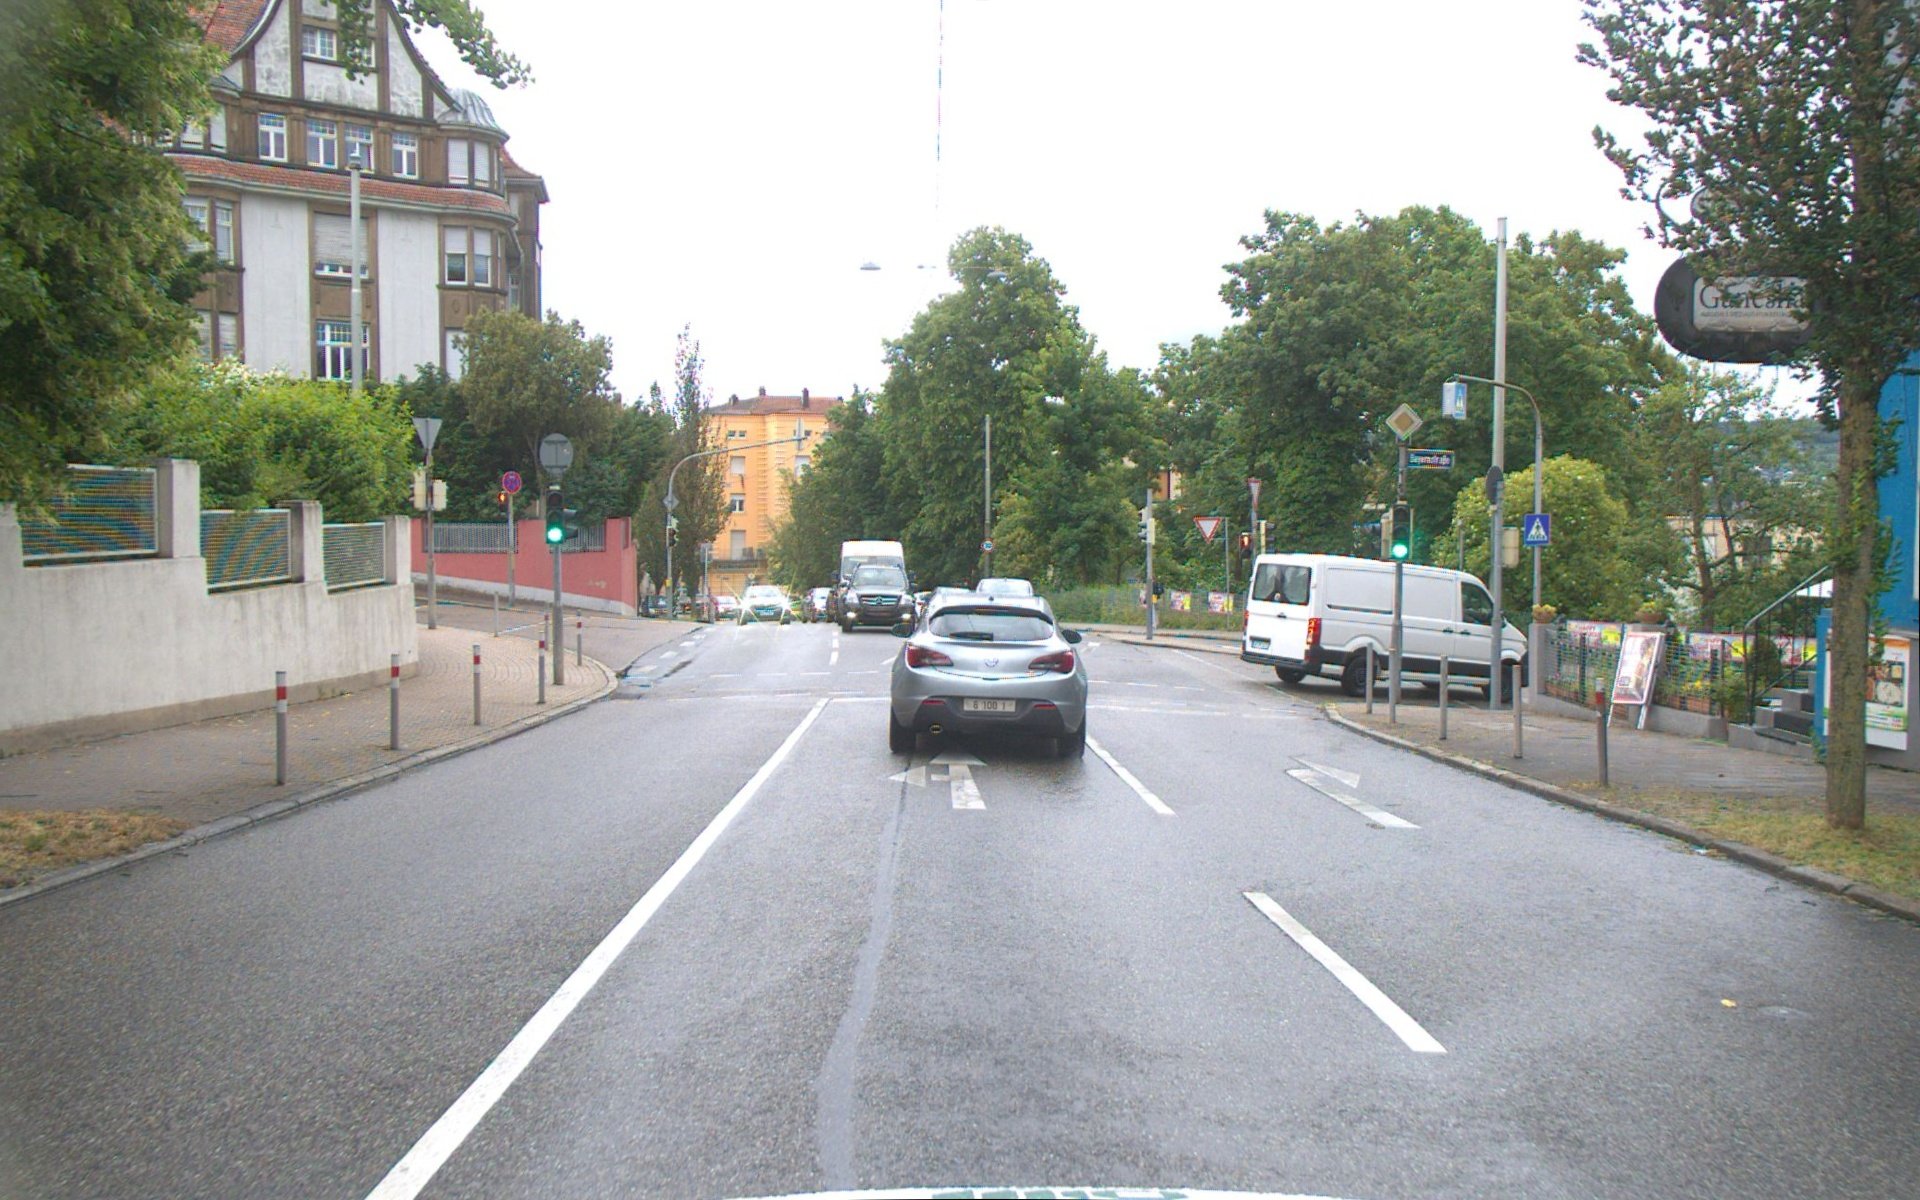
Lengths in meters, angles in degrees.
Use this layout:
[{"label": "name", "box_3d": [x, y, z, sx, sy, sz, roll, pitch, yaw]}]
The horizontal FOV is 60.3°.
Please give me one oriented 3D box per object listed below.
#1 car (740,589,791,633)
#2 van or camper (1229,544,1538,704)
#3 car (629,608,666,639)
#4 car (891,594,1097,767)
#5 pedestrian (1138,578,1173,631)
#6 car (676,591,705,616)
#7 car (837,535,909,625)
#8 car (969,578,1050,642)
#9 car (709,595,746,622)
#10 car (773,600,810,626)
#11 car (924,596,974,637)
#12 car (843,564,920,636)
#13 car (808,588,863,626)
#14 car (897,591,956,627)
[{"label": "car", "box_3d": [-7.407, 0.380, 63.099, 1.817, 1.512, 5.360, 0, 1, -7]}, {"label": "van or camper", "box_3d": [7.728, 0.464, 30.019, 5.343, 2.365, 2.091, 5, 3, -31]}, {"label": "car", "box_3d": [-16.996, 1.303, 89.822, 1.784, 1.641, 3.985, 1, -1, -14]}, {"label": "car", "box_3d": [0.256, 0.694, 16.387, 1.778, 1.454, 3.999, 1, 1, -1]}, {"label": "pedestrian", "box_3d": [6.216, 0.132, 52.603, 0.753, 1.633, 0.961, -2, 0, -16]}, {"label": "car", "box_3d": [-21.322, 0.291, 130.698, 1.754, 1.887, 3.980, 1, -1, -17]}, {"label": "car", "box_3d": [-2.715, -0.559, 50.510, 2.076, 2.590, 5.534, 0, 0, -4]}, {"label": "car", "box_3d": [1.158, 0.282, 40.149, 1.740, 1.455, 3.784, -1, -2, -2]}, {"label": "car", "box_3d": [-14.592, 0.538, 103.747, 1.814, 1.611, 4.263, 3, -1, -14]}, {"label": "car", "box_3d": [-10.272, 0.801, 100.709, 1.613, 1.563, 3.701, 0, 0, -15]}, {"label": "car", "box_3d": [-0.436, 0.585, 60.175, 1.357, 1.436, 3.450, -1, 0, -8]}, {"label": "car", "box_3d": [-2.012, -0.023, 41.664, 1.785, 1.681, 4.343, 1, 1, -4]}, {"label": "car", "box_3d": [-5.347, 0.335, 70.434, 1.743, 1.523, 4.249, 2, -1, -12]}, {"label": "car", "box_3d": [-1.696, 0.468, 81.405, 1.787, 1.520, 3.981, -6, 0, -17]}]
